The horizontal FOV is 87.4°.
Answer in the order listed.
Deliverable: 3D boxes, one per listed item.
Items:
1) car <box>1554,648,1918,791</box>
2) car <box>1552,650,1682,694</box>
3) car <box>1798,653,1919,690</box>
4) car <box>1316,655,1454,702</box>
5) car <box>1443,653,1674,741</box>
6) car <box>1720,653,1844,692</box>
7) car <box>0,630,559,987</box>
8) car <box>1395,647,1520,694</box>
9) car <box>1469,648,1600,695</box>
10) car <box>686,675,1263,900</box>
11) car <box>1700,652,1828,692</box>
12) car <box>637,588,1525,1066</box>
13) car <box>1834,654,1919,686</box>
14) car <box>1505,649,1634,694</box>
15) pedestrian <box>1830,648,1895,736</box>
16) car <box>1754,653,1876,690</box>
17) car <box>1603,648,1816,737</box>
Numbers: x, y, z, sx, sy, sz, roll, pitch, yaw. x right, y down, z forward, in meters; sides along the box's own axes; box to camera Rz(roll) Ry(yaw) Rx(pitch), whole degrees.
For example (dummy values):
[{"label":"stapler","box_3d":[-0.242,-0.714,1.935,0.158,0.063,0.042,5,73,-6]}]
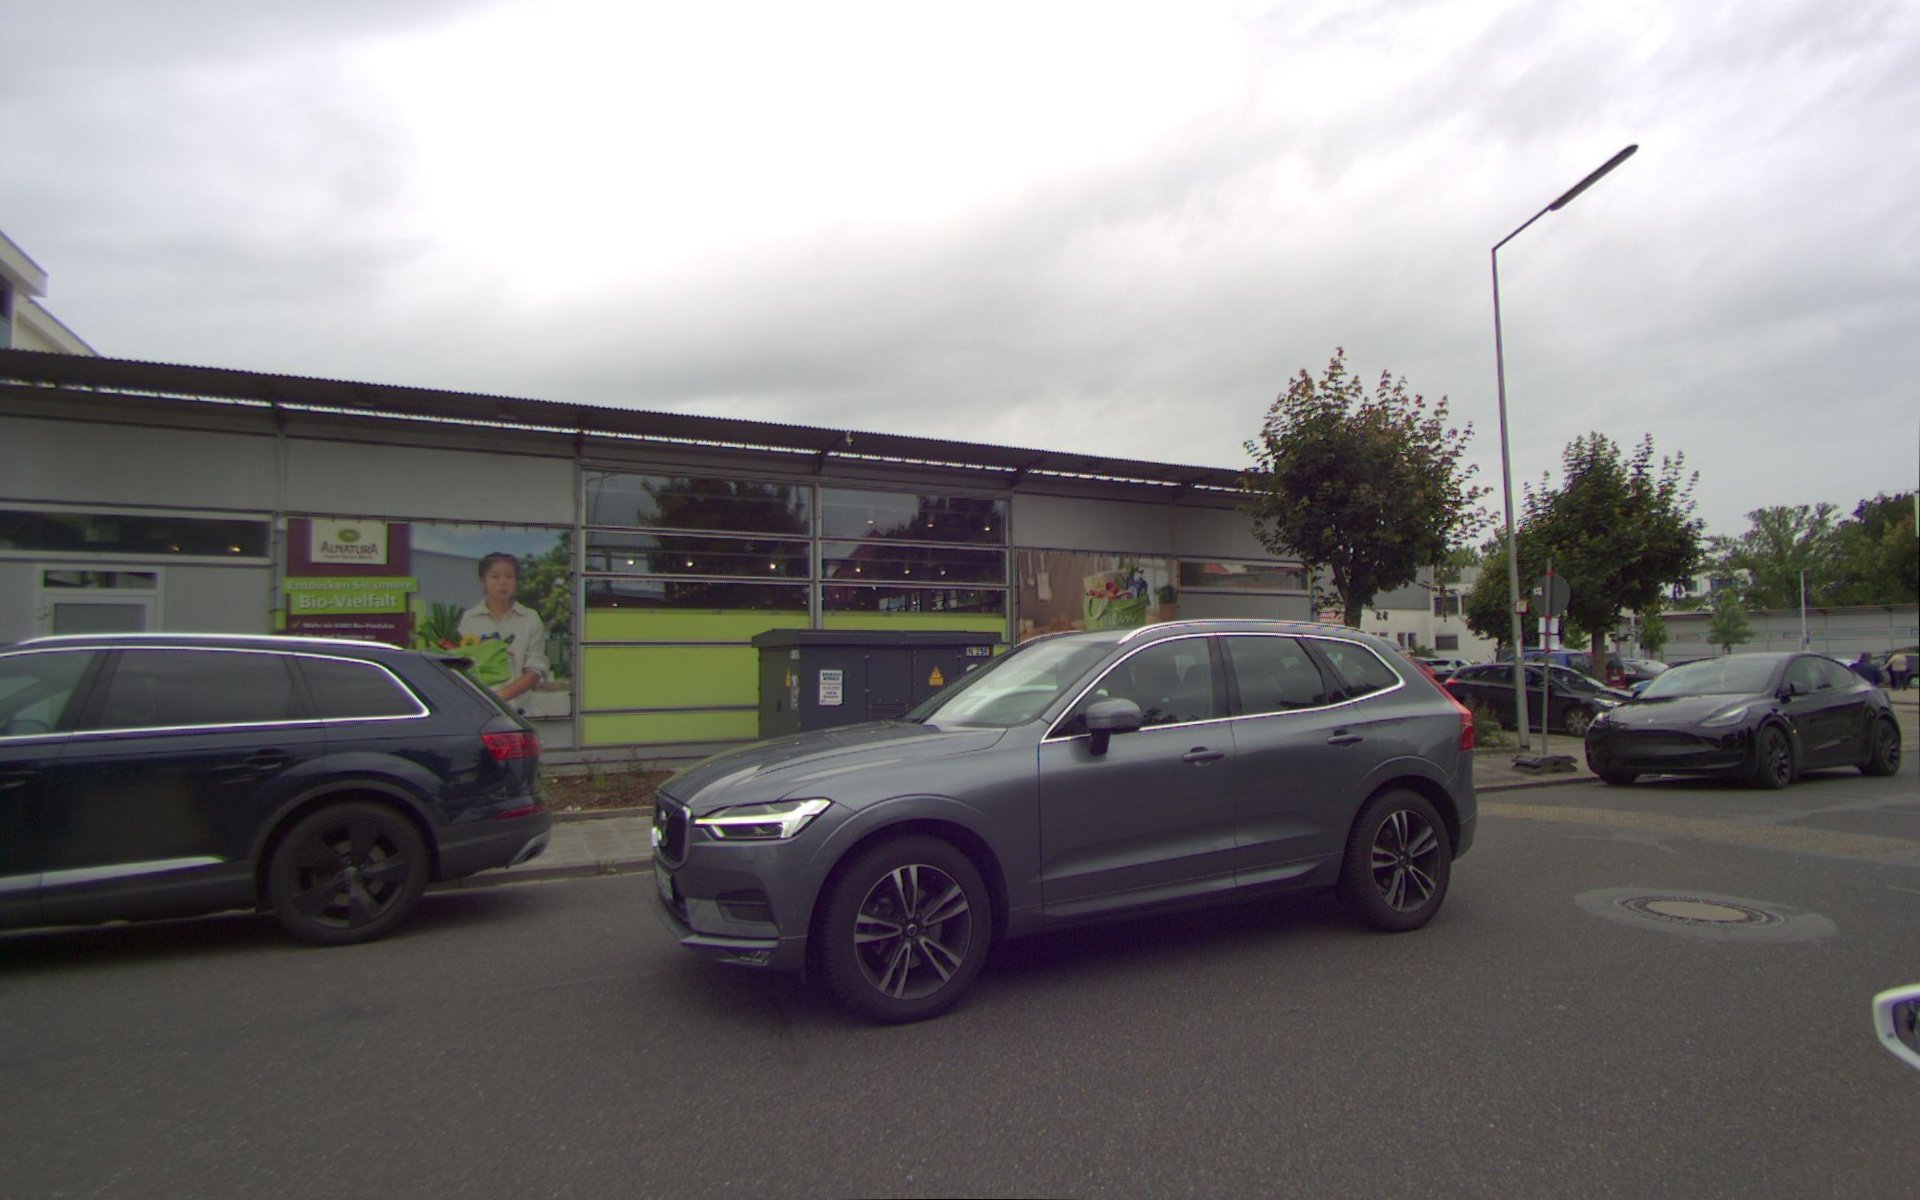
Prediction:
[{"label":"car","box_3d":[9.905,1.474,12.803,4.347,1.545,1.941,2,-8,-28]},{"label":"car","box_3d":[26.364,2.887,40.445,1.851,1.690,3.976,1,-4,-25]},{"label":"car","box_3d":[43.197,3.426,48.342,1.851,1.690,3.976,1,-4,-25]},{"label":"car","box_3d":[14.426,2.644,34.194,3.943,1.504,1.867,-4,-5,42]},{"label":"car","box_3d":[12.658,1.986,21.514,1.902,1.642,3.862,1,-2,-25]},{"label":"car","box_3d":[37.536,3.287,45.974,1.851,1.690,3.976,1,-4,-25]},{"label":"car","box_3d":[-4.874,1.117,5.791,4.665,1.712,1.862,1,-7,-25]},{"label":"car","box_3d":[18.874,2.681,38.301,1.851,1.690,3.976,1,-4,-25]},{"label":"car","box_3d":[21.917,2.731,38.464,1.851,1.690,3.976,1,-4,-25]},{"label":"car","box_3d":[0.168,1.404,8.280,4.459,1.384,1.694,1,-9,-27]},{"label":"car","box_3d":[35.575,3.186,44.561,1.851,1.690,3.976,1,-4,-25]},{"label":"car","box_3d":[0.679,0.928,5.460,4.435,1.705,1.928,1,-5,-26]},{"label":"car","box_3d":[46.596,3.490,50.203,1.762,1.511,3.977,1,-4,-25]},{"label":"car","box_3d":[23.985,2.818,39.658,1.851,1.690,3.976,1,-4,-25]},{"label":"pedestrian","box_3d":[18.367,1.859,20.455,0.689,1.737,0.771,2,-3,-30]},{"label":"car","box_3d":[40.715,3.392,47.918,1.851,1.690,3.976,1,-4,-25]},{"label":"car","box_3d":[18.809,2.283,25.387,1.742,2.039,3.909,2,-4,-32]}]
